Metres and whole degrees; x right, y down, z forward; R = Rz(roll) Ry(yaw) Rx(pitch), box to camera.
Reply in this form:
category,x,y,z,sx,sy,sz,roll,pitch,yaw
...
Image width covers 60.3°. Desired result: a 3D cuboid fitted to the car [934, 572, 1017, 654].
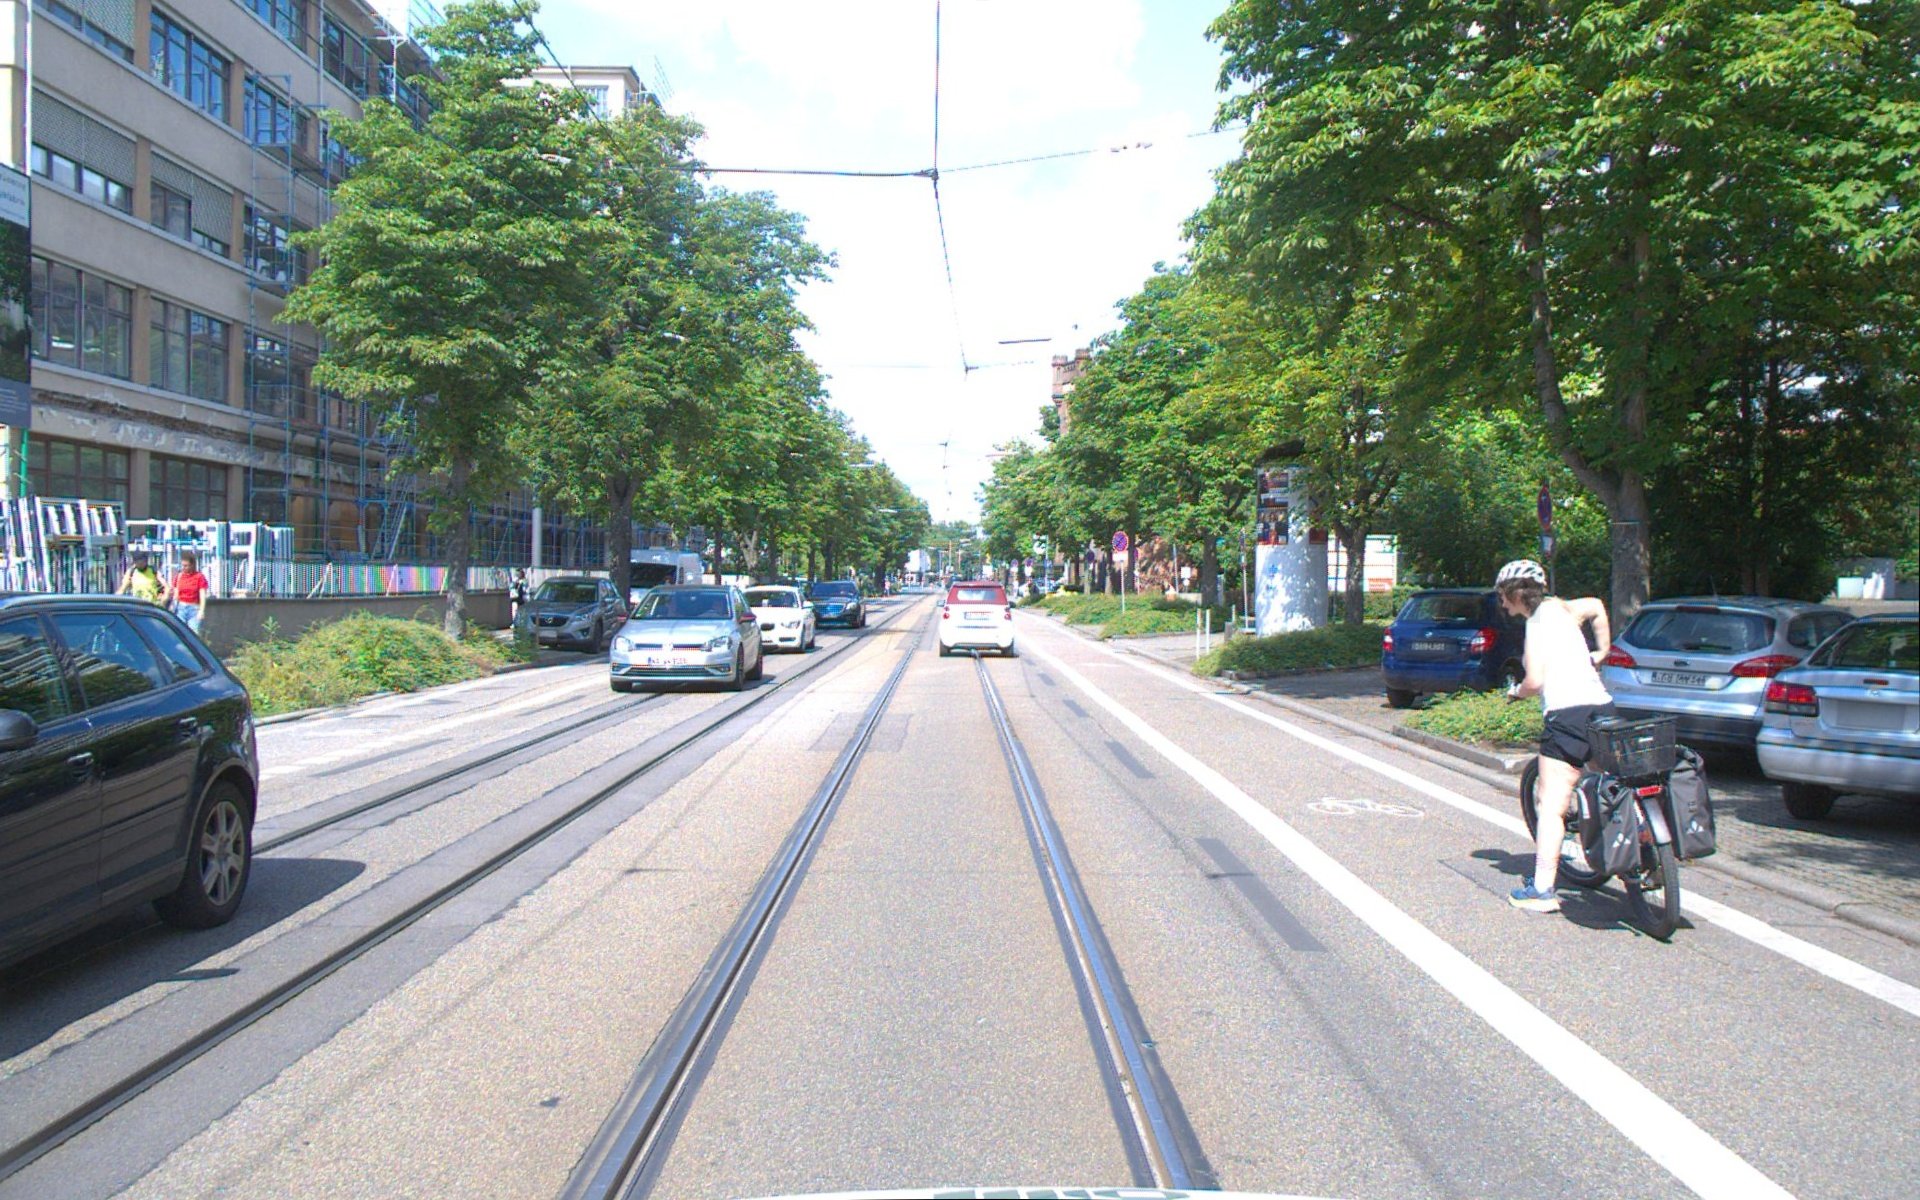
category,x,y,z,sx,sy,sz,roll,pitch,yaw
car,0.292,0.239,35.290,1.632,1.653,3.619,0,1,-2

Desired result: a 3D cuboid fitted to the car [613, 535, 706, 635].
category,x,y,z,sx,sy,sz,roll,pitch,yaw
car,-8.680,-0.426,48.185,1.733,2.685,5.321,2,0,-1

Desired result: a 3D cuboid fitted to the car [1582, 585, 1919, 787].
category,x,y,z,sx,sy,sz,roll,pitch,yaw
car,7.187,0.675,14.593,3.773,1.500,1.628,1,2,-42

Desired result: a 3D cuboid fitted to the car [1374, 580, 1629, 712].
category,x,y,z,sx,sy,sz,roll,pitch,yaw
car,7.045,0.519,21.304,1.588,1.512,3.974,0,1,43

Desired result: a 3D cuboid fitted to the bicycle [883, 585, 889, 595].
category,x,y,z,sx,sy,sz,roll,pitch,yaw
bicycle,-7.467,-0.990,166.485,0.606,0.990,1.716,1,1,-2

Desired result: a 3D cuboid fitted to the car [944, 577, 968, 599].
category,x,y,z,sx,sy,sz,roll,pitch,yaw
car,-0.292,-0.860,116.829,1.631,1.518,3.620,1,1,-1

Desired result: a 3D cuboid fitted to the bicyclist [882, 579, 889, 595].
category,x,y,z,sx,sy,sz,roll,pitch,yaw
bicyclist,-7.442,-1.276,166.324,0.645,1.607,0.945,2,0,-2

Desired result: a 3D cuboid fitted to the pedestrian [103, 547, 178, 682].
category,x,y,z,sx,sy,sz,roll,pitch,yaw
pedestrian,-11.430,0.198,23.082,0.694,1.824,0.661,2,0,-6

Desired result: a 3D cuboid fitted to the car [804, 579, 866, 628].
category,x,y,z,sx,sy,sz,roll,pitch,yaw
car,-4.061,0.101,54.275,1.764,1.534,4.535,1,0,-1

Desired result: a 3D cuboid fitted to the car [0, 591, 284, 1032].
category,x,y,z,sx,sy,sz,roll,pitch,yaw
car,-3.902,0.676,5.574,1.688,1.400,3.999,0,0,-2

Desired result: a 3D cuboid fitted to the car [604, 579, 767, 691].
category,x,y,z,sx,sy,sz,roll,pitch,yaw
car,-3.833,0.448,23.642,1.737,1.441,3.851,-1,0,-1

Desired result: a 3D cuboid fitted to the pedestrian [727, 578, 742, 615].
category,x,y,z,sx,sy,sz,roll,pitch,yaw
pedestrian,-12.680,-0.211,92.988,0.788,2.049,0.484,1,0,-10

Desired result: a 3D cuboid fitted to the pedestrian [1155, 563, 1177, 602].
category,x,y,z,sx,sy,sz,roll,pitch,yaw
pedestrian,10.956,-0.923,87.939,0.957,2.049,1.093,2,0,-2

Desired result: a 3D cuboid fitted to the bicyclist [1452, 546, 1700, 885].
category,x,y,z,sx,sy,sz,roll,pitch,yaw
bicyclist,3.049,0.537,8.299,0.871,1.555,1.086,2,0,5

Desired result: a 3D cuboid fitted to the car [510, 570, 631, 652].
category,x,y,z,sx,sy,sz,roll,pitch,yaw
car,-8.759,0.221,37.513,1.768,1.691,4.102,2,0,-1

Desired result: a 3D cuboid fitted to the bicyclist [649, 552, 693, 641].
category,x,y,z,sx,sy,sz,roll,pitch,yaw
bicyclist,-6.796,-0.077,38.900,0.859,2.049,0.833,-2,-1,-2

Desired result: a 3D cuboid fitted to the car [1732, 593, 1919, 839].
category,x,y,z,sx,sy,sz,roll,pitch,yaw
car,7.223,0.705,11.482,4.201,1.444,1.700,0,2,-39

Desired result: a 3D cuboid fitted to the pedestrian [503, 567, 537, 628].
category,x,y,z,sx,sy,sz,roll,pitch,yaw
pedestrian,-12.182,-0.074,45.823,0.749,1.648,0.594,2,0,-1

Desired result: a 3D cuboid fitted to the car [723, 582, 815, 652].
category,x,y,z,sx,sy,sz,roll,pitch,yaw
car,-4.229,0.344,36.183,1.657,1.430,4.214,0,0,-12

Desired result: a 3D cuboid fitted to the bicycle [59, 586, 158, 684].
category,x,y,z,sx,sy,sz,roll,pitch,yaw
bicycle,-11.879,0.462,23.113,0.437,1.309,1.739,1,1,2

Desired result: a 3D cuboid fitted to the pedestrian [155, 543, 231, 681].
category,x,y,z,sx,sy,sz,roll,pitch,yaw
pedestrian,-10.761,0.157,23.229,0.694,1.863,0.661,4,2,-6

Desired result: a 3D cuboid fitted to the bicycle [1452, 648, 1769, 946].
category,x,y,z,sx,sy,sz,roll,pitch,yaw
bicycle,3.100,0.872,8.151,0.856,1.145,2.137,2,1,5
